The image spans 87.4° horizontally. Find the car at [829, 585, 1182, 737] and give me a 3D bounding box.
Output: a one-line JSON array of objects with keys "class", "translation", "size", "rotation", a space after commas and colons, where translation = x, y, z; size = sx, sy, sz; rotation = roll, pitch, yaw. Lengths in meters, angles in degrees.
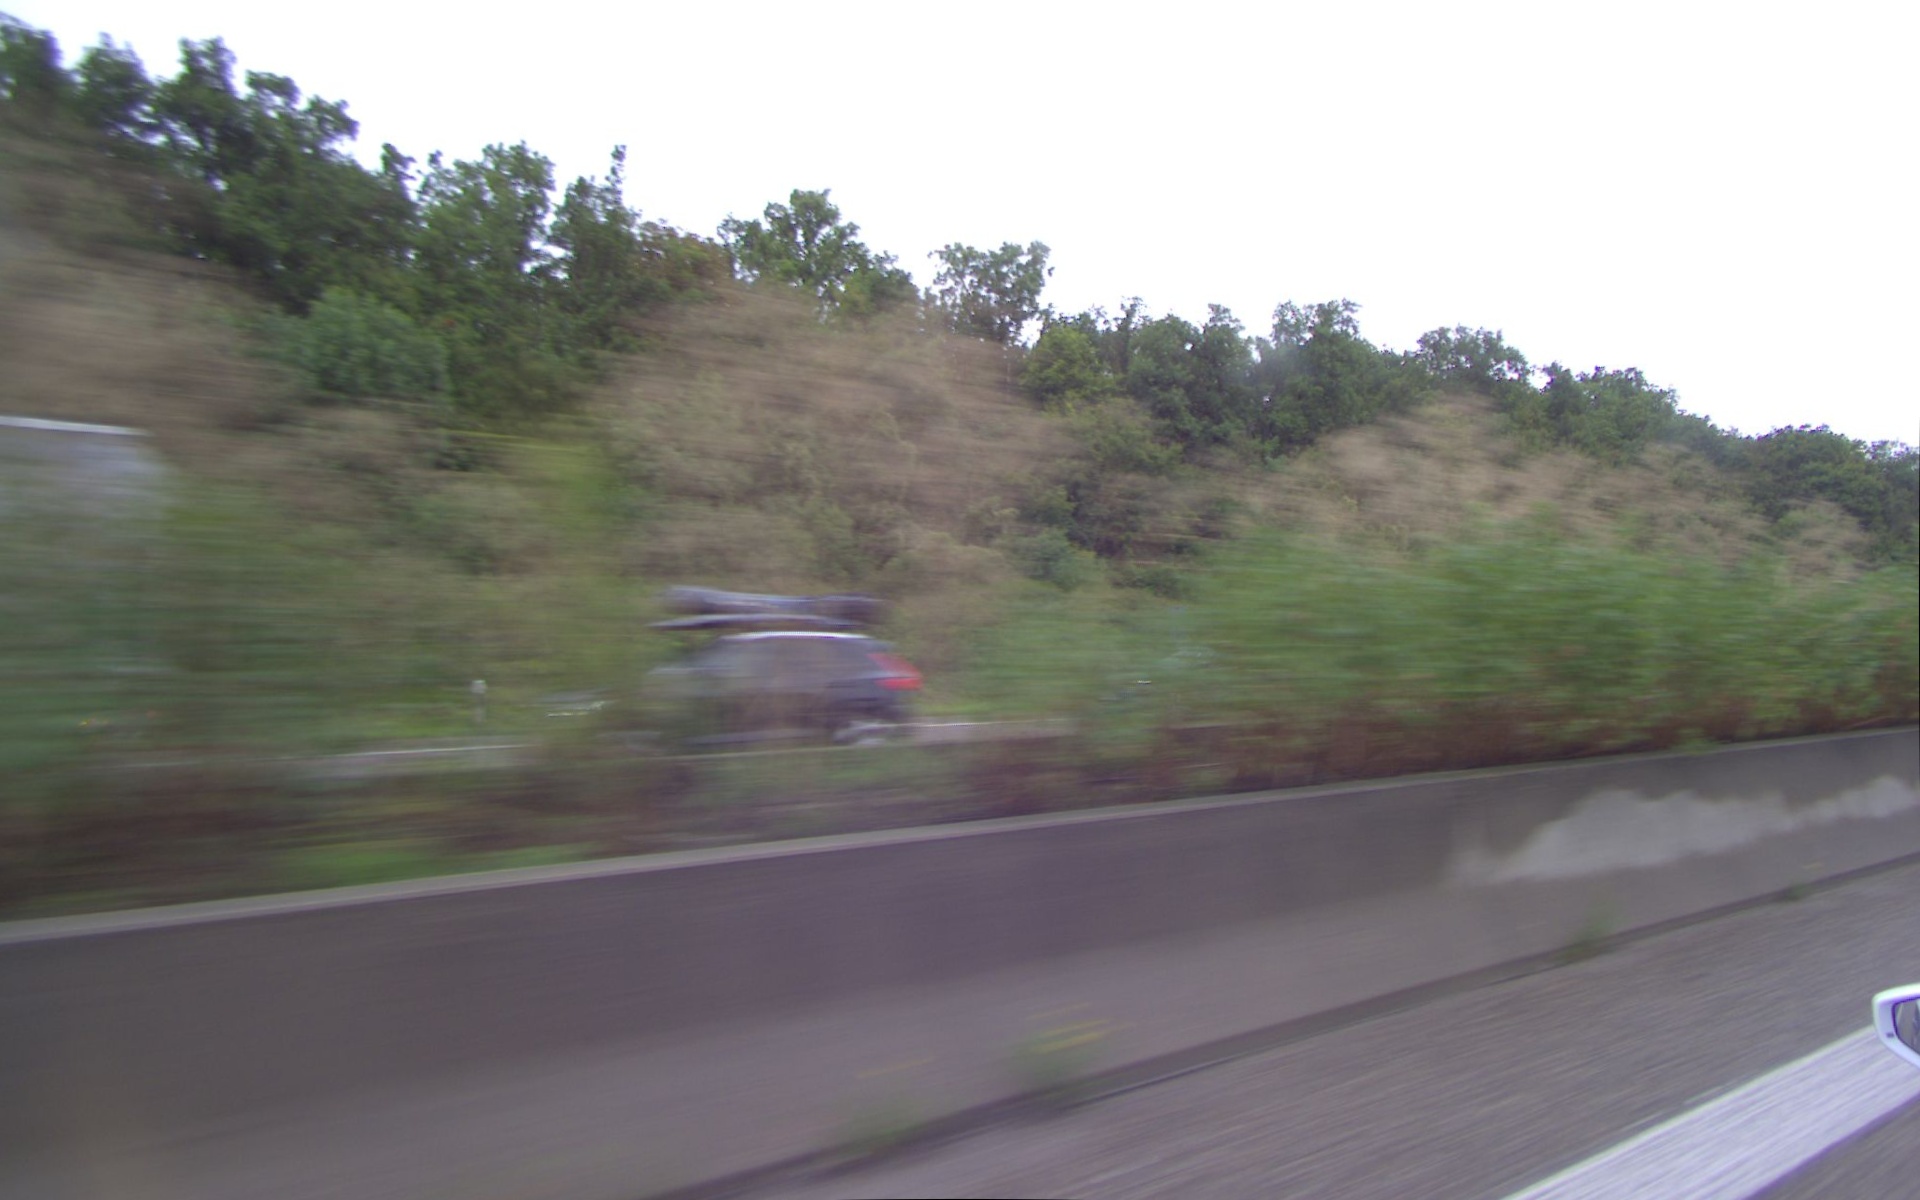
[{"class": "car", "translation": [0.680, 0.762, 13.589], "size": [4.446, 1.745, 1.982], "rotation": [1, -1, -32]}]

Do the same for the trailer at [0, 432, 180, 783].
[{"class": "trailer", "translation": [-15.175, -0.015, 8.542], "size": [13.102, 3.531, 2.973], "rotation": [2, -2, -31]}]
